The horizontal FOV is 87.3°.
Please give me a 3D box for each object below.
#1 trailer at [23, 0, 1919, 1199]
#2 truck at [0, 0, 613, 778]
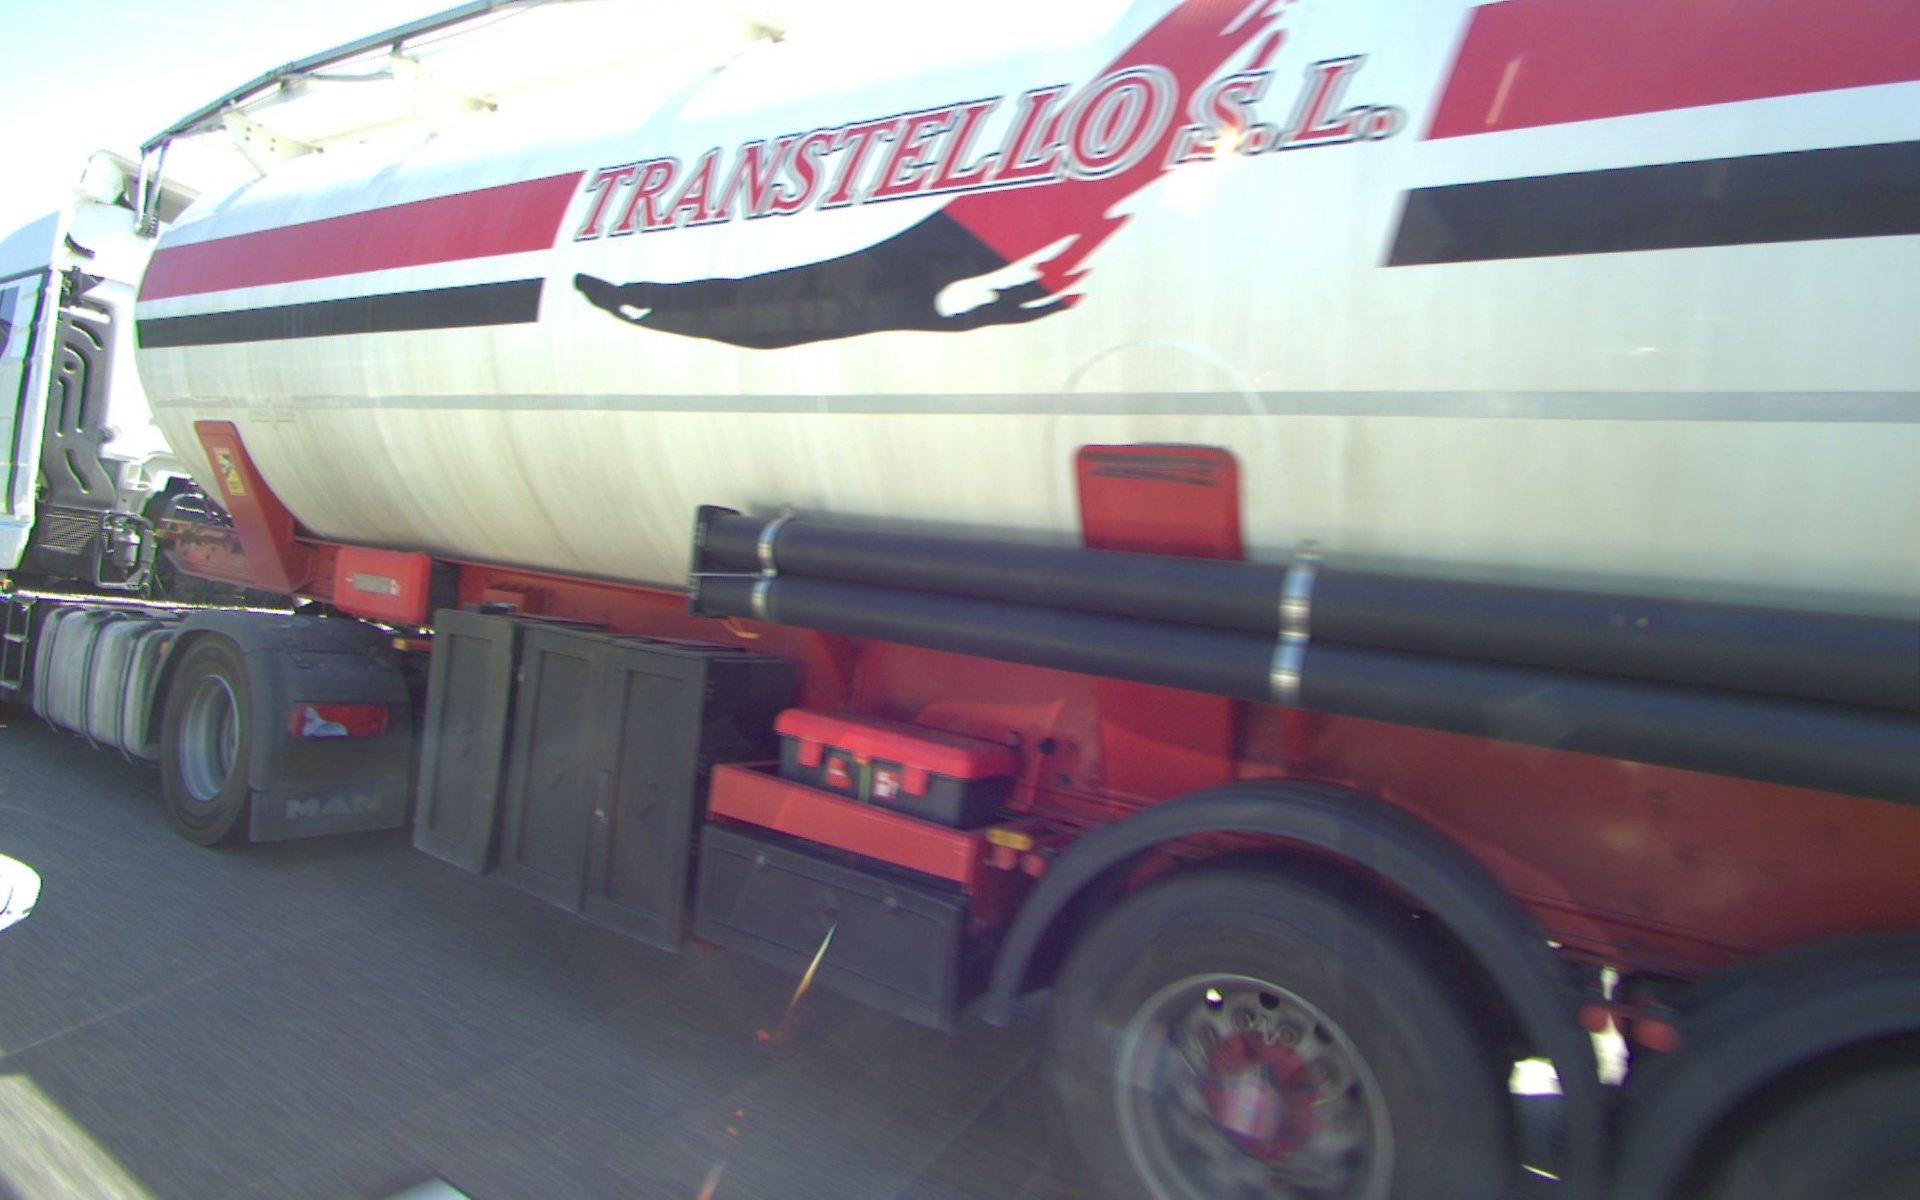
[{"bbox_3d":[0.657,-0.591,3.819,12.148,4.256,2.794,7,0,32],"label":"trailer"},{"bbox_3d":[-5.670,-1.305,7.759,4.917,4.256,2.794,7,0,32],"label":"truck"}]
